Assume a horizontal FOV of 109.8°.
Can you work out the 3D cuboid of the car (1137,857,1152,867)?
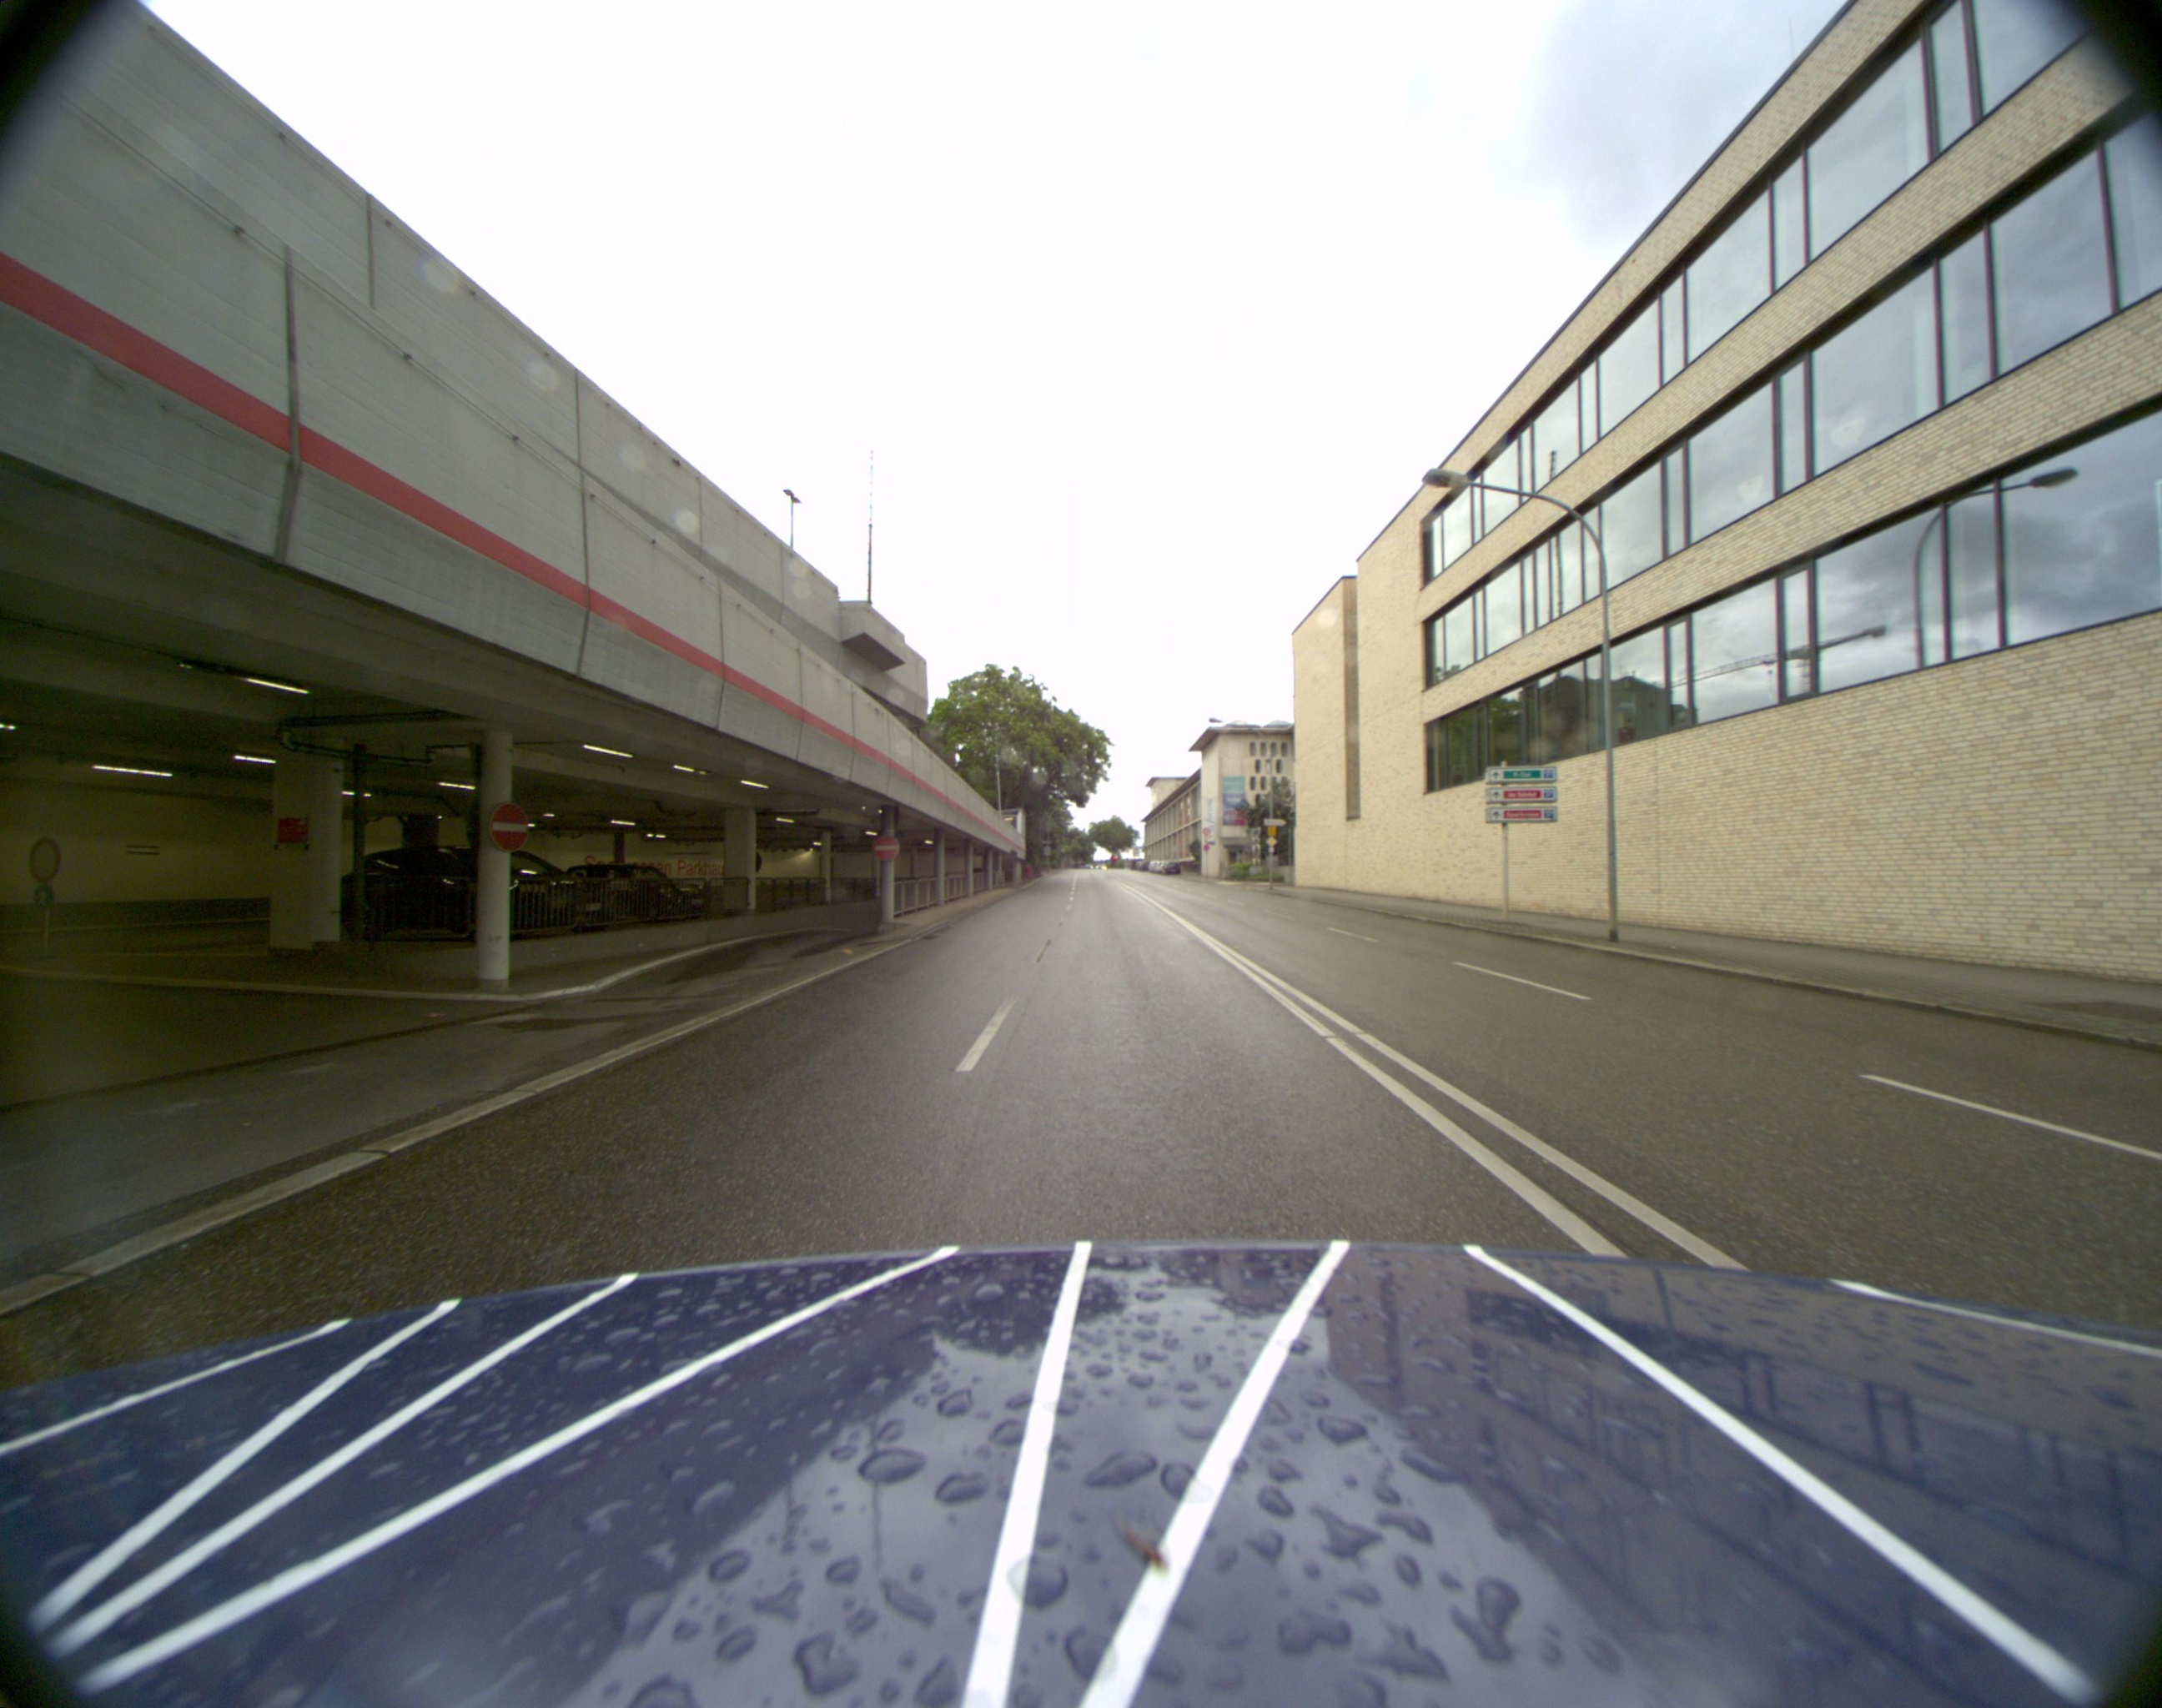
[{"bbox_3d":[10.696,1.286,128.322,1.998,1.528,3.999,-2,1,0],"label":"car"}]

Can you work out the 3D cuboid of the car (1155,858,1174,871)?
[{"bbox_3d":[10.536,1.347,96.234,1.998,1.503,4.000,-2,1,2],"label":"car"}]

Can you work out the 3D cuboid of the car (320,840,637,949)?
[{"bbox_3d":[-10.705,0.705,13.631,4.584,1.630,1.823,-3,0,11],"label":"car"}]

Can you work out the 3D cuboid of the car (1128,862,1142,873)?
[{"bbox_3d":[9.089,2.297,128.851,1.998,1.569,3.999,-2,1,0],"label":"car"}]

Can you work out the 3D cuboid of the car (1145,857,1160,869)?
[{"bbox_3d":[10.894,1.411,115.860,1.999,1.701,3.999,0,1,0],"label":"car"}]

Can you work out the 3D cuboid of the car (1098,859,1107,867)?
[{"bbox_3d":[5.894,2.352,207.326,1.805,2.002,3.998,-3,1,-5],"label":"car"}]

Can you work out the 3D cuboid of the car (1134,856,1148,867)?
[{"bbox_3d":[10.853,1.380,136.955,1.999,1.637,3.998,-3,2,-1],"label":"car"}]

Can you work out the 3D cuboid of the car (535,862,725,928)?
[{"bbox_3d":[-11.080,0.998,18.799,3.730,1.496,1.809,-1,-2,8],"label":"car"}]

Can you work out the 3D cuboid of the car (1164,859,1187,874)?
[{"bbox_3d":[10.565,1.408,85.427,1.999,1.520,3.999,-2,1,-1],"label":"car"}]

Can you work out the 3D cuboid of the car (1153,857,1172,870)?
[{"bbox_3d":[10.828,1.270,101.353,1.998,1.482,4.185,-2,1,1],"label":"car"}]

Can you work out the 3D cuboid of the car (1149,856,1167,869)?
[{"bbox_3d":[10.893,1.222,107.392,1.999,1.521,3.999,-6,1,-1],"label":"car"}]

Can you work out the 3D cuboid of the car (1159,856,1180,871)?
[{"bbox_3d":[10.600,1.125,90.823,1.998,1.632,3.999,-2,1,0],"label":"car"}]
